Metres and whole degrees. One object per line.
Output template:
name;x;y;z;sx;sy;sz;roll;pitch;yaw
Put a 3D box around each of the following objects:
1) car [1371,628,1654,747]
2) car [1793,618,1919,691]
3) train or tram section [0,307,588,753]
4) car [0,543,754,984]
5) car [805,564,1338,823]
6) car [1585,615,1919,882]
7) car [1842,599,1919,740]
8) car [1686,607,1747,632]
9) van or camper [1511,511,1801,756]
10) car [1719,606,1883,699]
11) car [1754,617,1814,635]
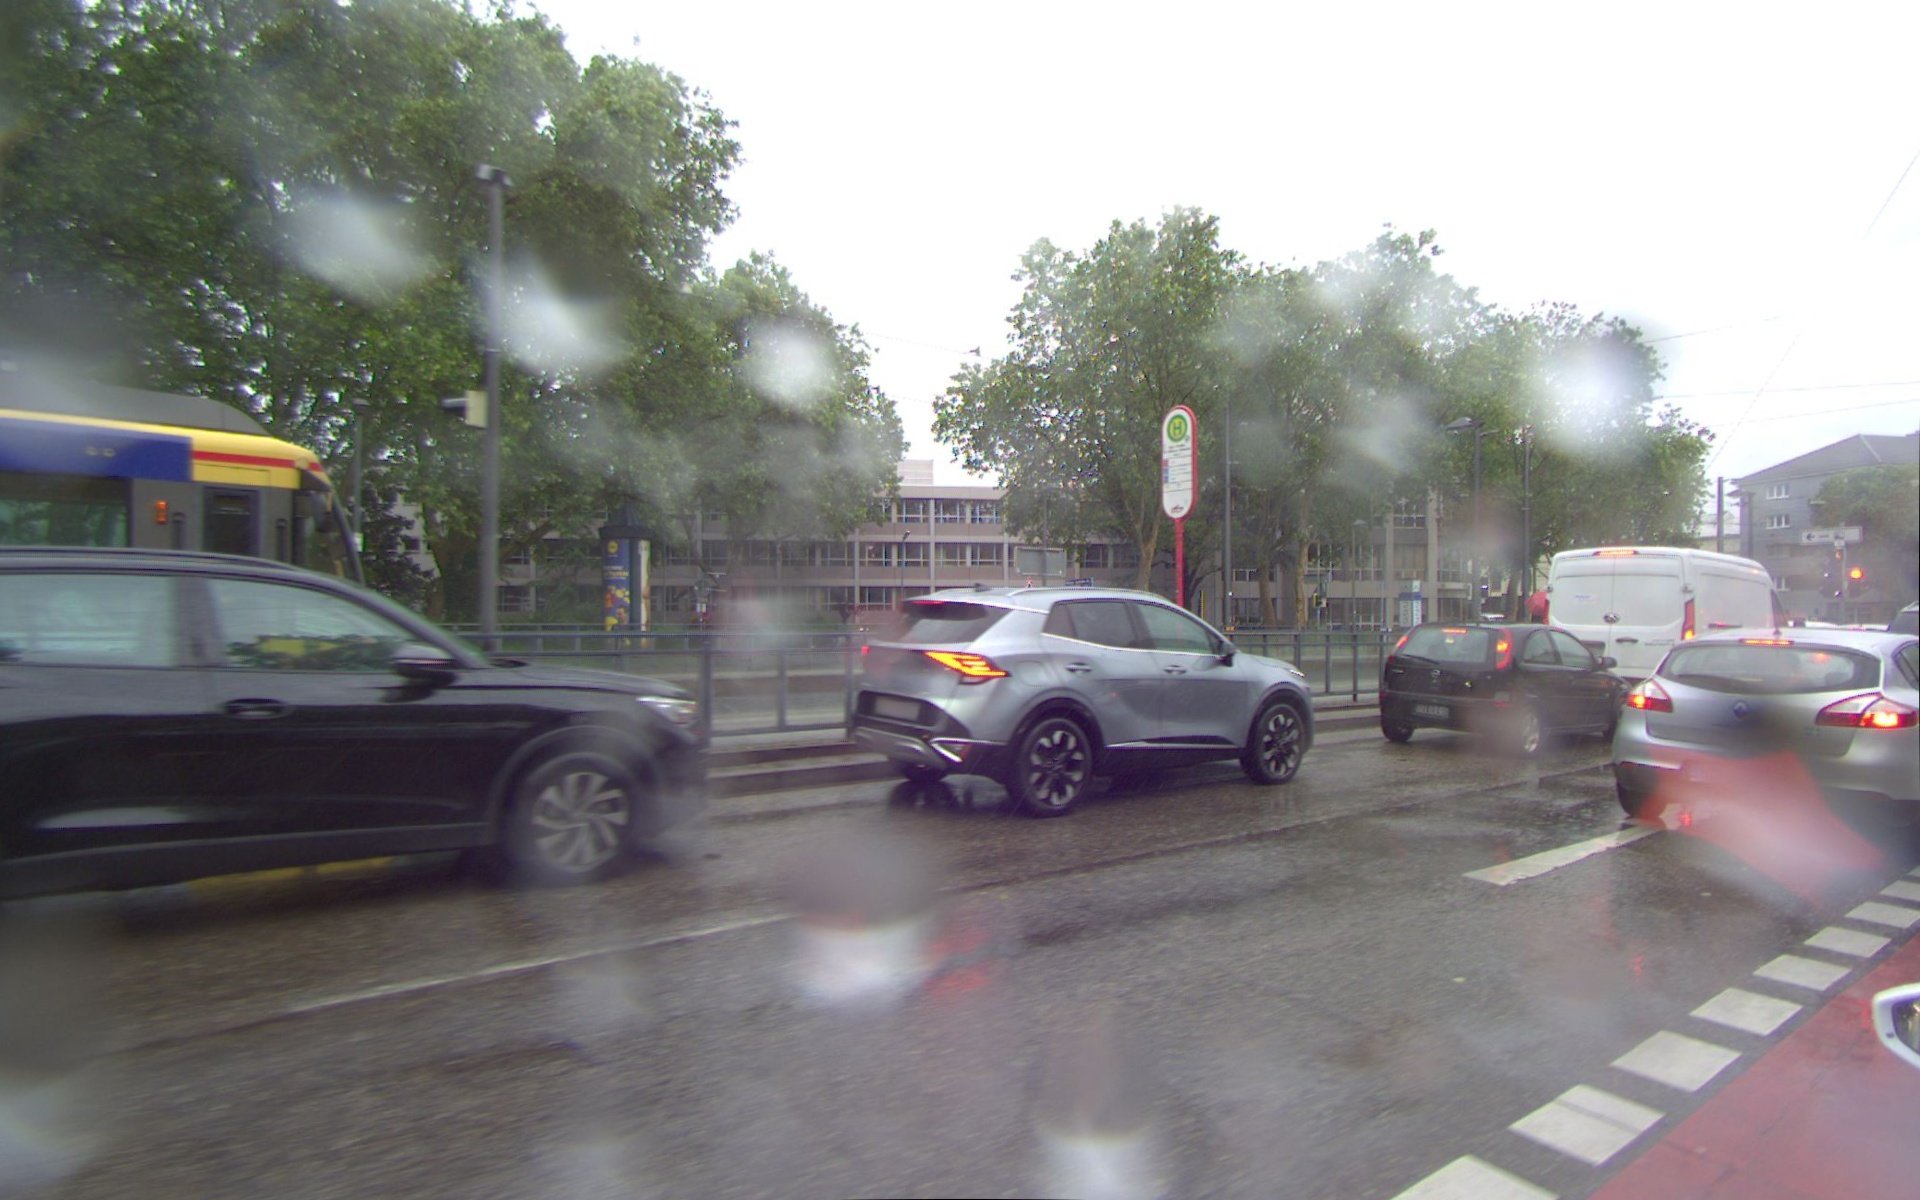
car;6.670;0.940;11.956;4.051;1.132;1.452;1;1;-38
car;21.454;1.239;23.710;3.961;1.504;1.831;1;1;-36
train or tram section;-11.081;-0.664;7.265;15.360;3.459;3.514;1;1;-37
car;-3.444;0.622;5.099;4.282;1.642;1.978;1;0;-38
car;1.097;0.649;8.511;4.413;1.645;1.900;2;-1;-37
car;6.619;0.914;7.751;3.965;1.497;1.754;1;1;-38
car;14.203;0.952;14.021;4.422;1.794;2.009;1;1;-38
car;70.621;1.809;93.782;4.705;2.228;1.995;0;2;-13
van or camper;11.035;0.493;15.716;5.800;3.183;2.141;1;-1;-38
car;16.590;0.982;19.769;3.800;1.650;1.633;1;0;-37
car;72.773;2.288;88.698;3.927;1.550;1.997;0;1;-9
